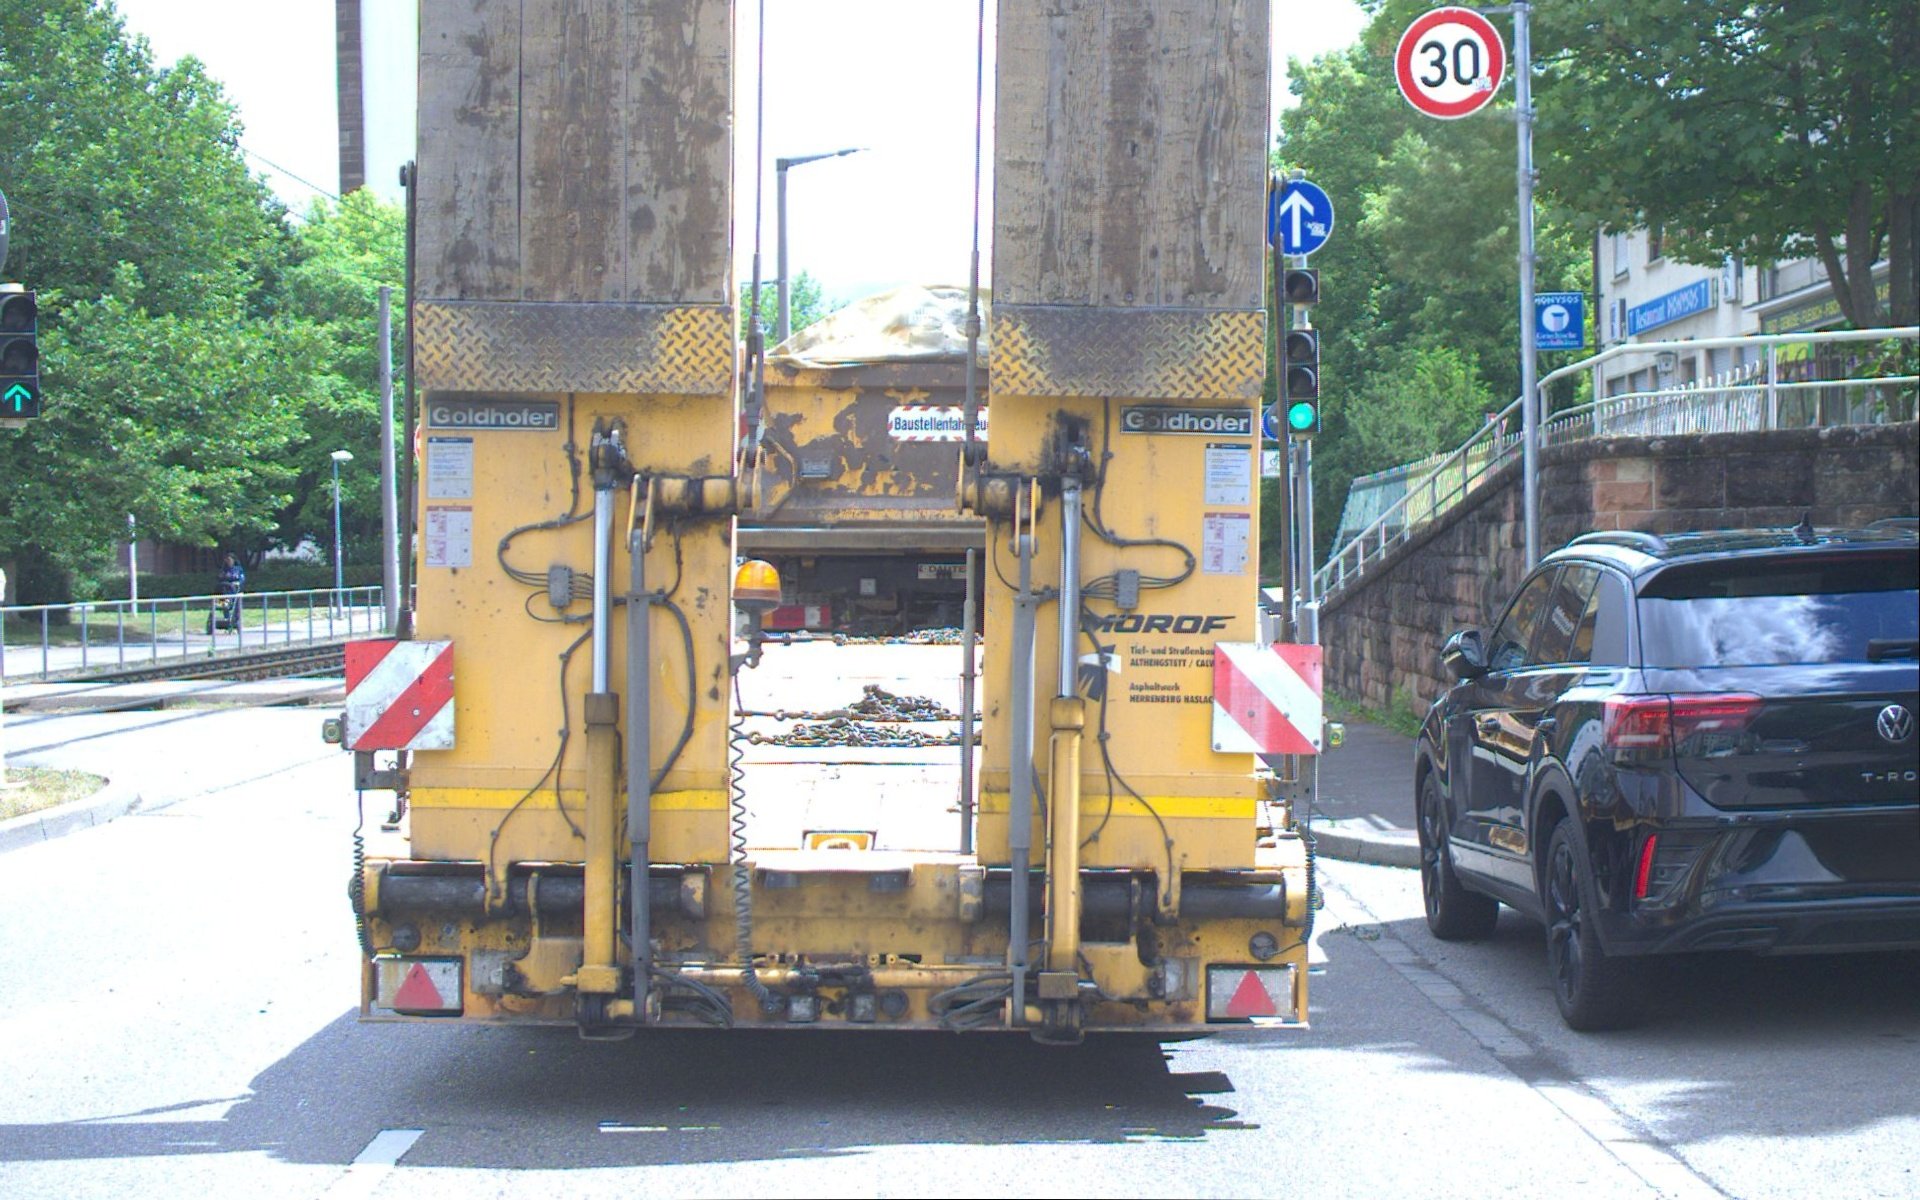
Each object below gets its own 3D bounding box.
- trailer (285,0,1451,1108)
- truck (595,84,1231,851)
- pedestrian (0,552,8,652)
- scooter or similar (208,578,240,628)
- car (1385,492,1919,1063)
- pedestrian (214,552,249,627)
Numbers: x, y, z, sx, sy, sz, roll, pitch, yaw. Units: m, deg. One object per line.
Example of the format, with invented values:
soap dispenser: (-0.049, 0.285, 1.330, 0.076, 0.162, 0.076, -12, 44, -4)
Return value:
trailer: (-0.218, -0.581, 13.113, 2.945, 3.589, 8.684, -1, 1, 0)
truck: (-0.207, -0.657, 18.554, 2.942, 3.560, 4.877, -1, 1, 0)
pedestrian: (-14.884, 0.032, 52.736, 0.348, 1.532, 0.557, -1, 1, 3)
scooter or similar: (-14.758, 0.059, 68.922, 0.505, 0.968, 0.646, 1, 1, -1)
car: (2.677, 0.479, 12.032, 1.851, 1.633, 4.000, -2, 1, 0)
pedestrian: (-14.737, -0.212, 69.574, 0.563, 1.508, 0.646, 1, 1, -1)
